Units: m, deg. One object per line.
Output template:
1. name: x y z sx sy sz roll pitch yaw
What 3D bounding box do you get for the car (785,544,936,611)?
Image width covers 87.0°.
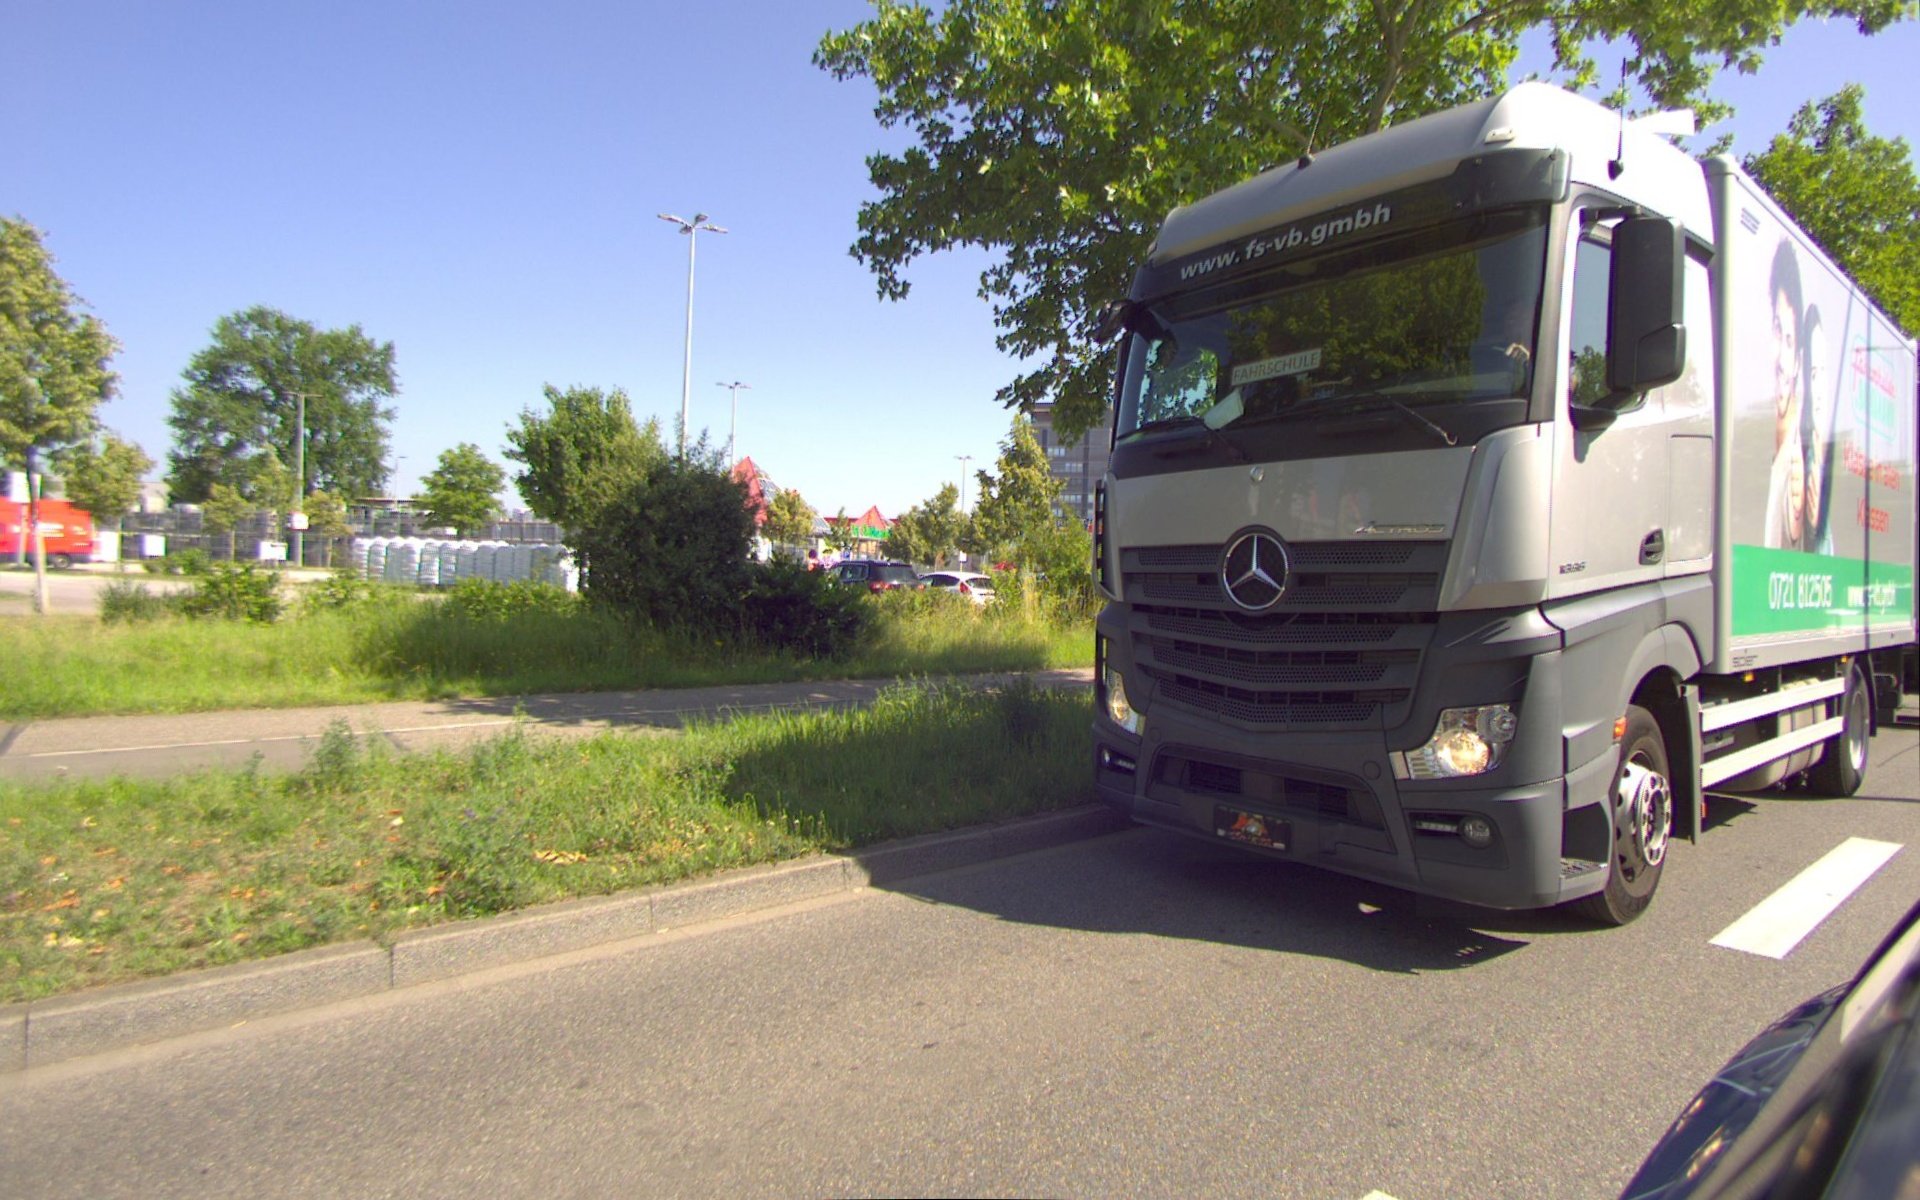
1. car: -2.659 -0.559 26.473 1.850 1.611 4.075 -1 0 -43

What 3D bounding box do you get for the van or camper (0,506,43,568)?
1. van or camper: -48.860 -3.124 48.592 1.971 2.979 7.253 0 0 15

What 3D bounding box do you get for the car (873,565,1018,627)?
1. car: -0.467 -0.125 28.423 1.850 1.611 4.075 -1 0 -43

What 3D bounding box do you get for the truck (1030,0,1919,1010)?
1. truck: 4.599 -0.624 7.229 8.564 3.938 2.737 -1 2 -38

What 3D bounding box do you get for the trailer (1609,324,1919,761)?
1. trailer: 10.913 -0.587 12.336 7.596 3.925 2.743 -1 2 -39

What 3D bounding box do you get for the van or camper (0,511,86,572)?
1. van or camper: -45.428 -2.740 47.180 1.971 2.739 7.253 0 0 15
